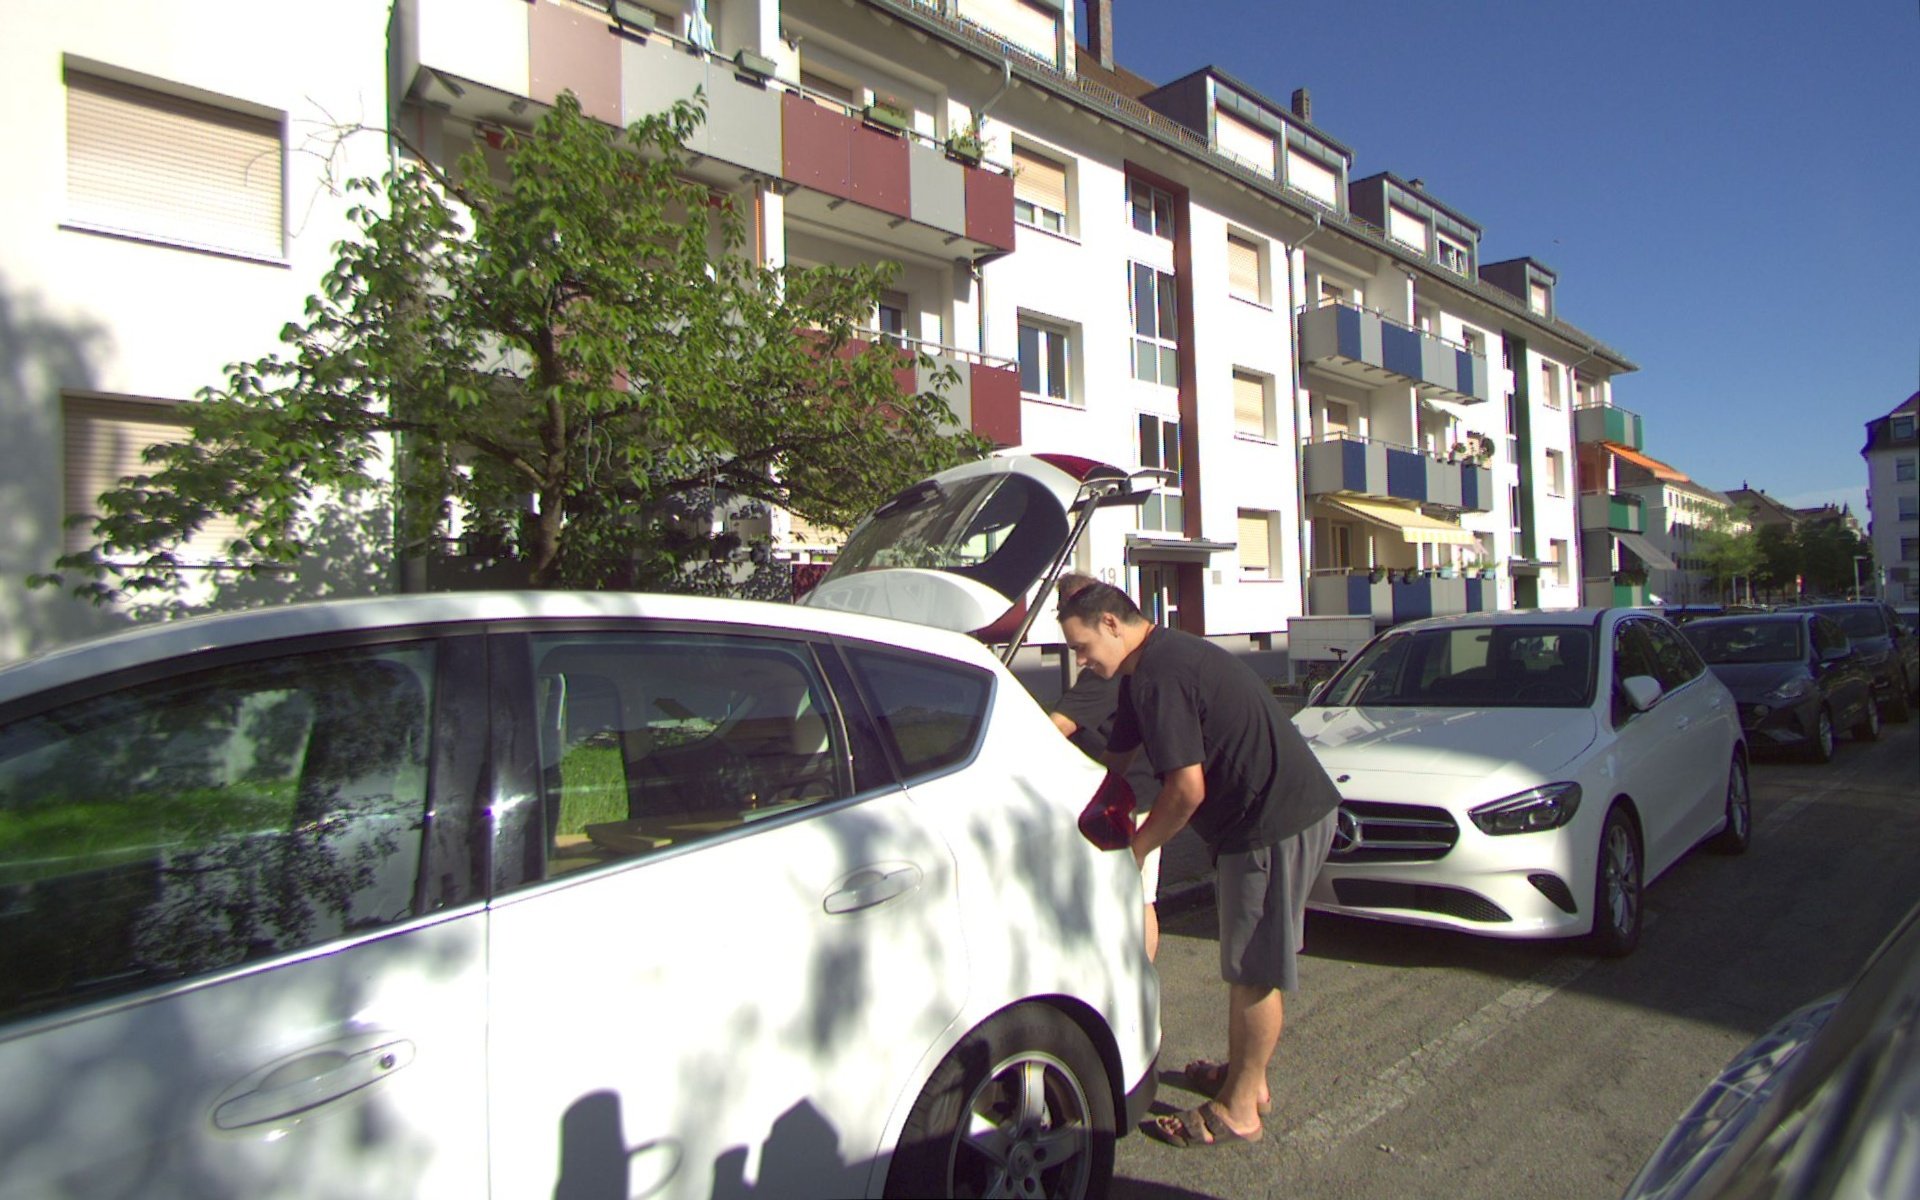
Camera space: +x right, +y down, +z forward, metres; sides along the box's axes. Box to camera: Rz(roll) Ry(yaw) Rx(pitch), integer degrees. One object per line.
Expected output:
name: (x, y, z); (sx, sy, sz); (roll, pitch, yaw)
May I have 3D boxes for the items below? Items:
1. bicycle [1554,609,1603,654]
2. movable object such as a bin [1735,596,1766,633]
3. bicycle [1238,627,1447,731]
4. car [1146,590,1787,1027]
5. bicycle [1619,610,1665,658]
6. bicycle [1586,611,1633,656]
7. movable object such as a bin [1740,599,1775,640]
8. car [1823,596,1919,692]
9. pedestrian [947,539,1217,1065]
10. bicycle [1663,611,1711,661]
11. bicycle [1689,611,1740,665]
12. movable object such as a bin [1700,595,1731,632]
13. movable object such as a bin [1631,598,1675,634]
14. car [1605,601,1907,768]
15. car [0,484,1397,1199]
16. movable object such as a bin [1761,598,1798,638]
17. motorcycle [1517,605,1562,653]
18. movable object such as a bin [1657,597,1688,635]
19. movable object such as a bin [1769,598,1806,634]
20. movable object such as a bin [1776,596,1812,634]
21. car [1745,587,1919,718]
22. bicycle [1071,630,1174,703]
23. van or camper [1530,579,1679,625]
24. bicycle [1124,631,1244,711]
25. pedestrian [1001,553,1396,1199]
bicycle: (16.272, 0.815, 26.613); (1.841, 1.130, 0.597); (0, -1, -42)
movable object such as a bin: (31.436, 0.573, 40.245); (0.907, 1.466, 0.864); (0, -1, -45)
bicycle: (4.798, 0.944, 12.920); (0.862, 1.144, 2.431); (0, -1, -34)
car: (3.123, 0.754, 5.722); (4.405, 1.524, 1.773); (0, -2, -43)
bicycle: (17.183, 0.832, 25.489); (1.841, 1.135, 0.544); (0, 0, -42)
bicycle: (16.699, 0.837, 26.019); (1.841, 1.096, 0.539); (0, 1, -42)
movable object such as a bin: (29.049, 0.688, 36.861); (0.907, 1.466, 0.864); (0, -1, -45)
car: (16.636, 0.708, 17.736); (3.787, 1.529, 1.714); (0, -4, -42)
pedestrian: (0.443, 0.657, 3.808); (0.594, 1.709, 0.821); (0, -1, -41)
bicycle: (17.775, 0.852, 24.739); (1.841, 1.147, 0.578); (0, 0, -42)
bicycle: (17.685, 0.869, 23.711); (1.840, 1.185, 0.545); (0, 0, -40)
movable object such as a bin: (30.607, 0.547, 40.994); (0.907, 1.466, 0.864); (0, -1, -45)
movable object such as a bin: (28.602, 0.642, 41.791); (1.257, 1.466, 1.237); (0, -1, -43)
car: (8.762, 0.806, 11.031); (3.987, 1.468, 1.650); (-1, -3, -39)
car: (-1.298, 0.742, 2.164); (4.905, 1.634, 1.997); (0, -3, -39)
movable object such as a bin: (30.342, 0.664, 37.479); (0.852, 1.466, 0.920); (0, -1, -43)
motorcycle: (15.758, 0.768, 27.492); (1.942, 1.254, 0.442); (0, -1, -41)
movable object such as a bin: (29.736, 0.654, 42.209); (0.906, 1.539, 0.865); (0, -1, -42)
movable object such as a bin: (31.282, 0.615, 38.260); (0.852, 1.342, 0.920); (0, -1, -42)
movable object such as a bin: (32.188, 0.582, 39.055); (0.852, 1.416, 0.920); (0, -1, -42)
car: (12.684, 0.636, 14.342); (4.278, 1.598, 1.725); (0, -1, -42)
bicycle: (2.648, 1.041, 16.328); (1.940, 1.050, 0.521); (0, -1, -41)
van or camper: (37.378, 0.140, 58.948); (2.137, 2.532, 6.978); (0, -1, -39)
bicycle: (3.402, 1.034, 15.238); (2.248, 1.062, 0.521); (0, 0, -41)
pedestrian: (0.687, 0.690, 2.913); (0.864, 1.595, 0.740); (0, -1, -41)
